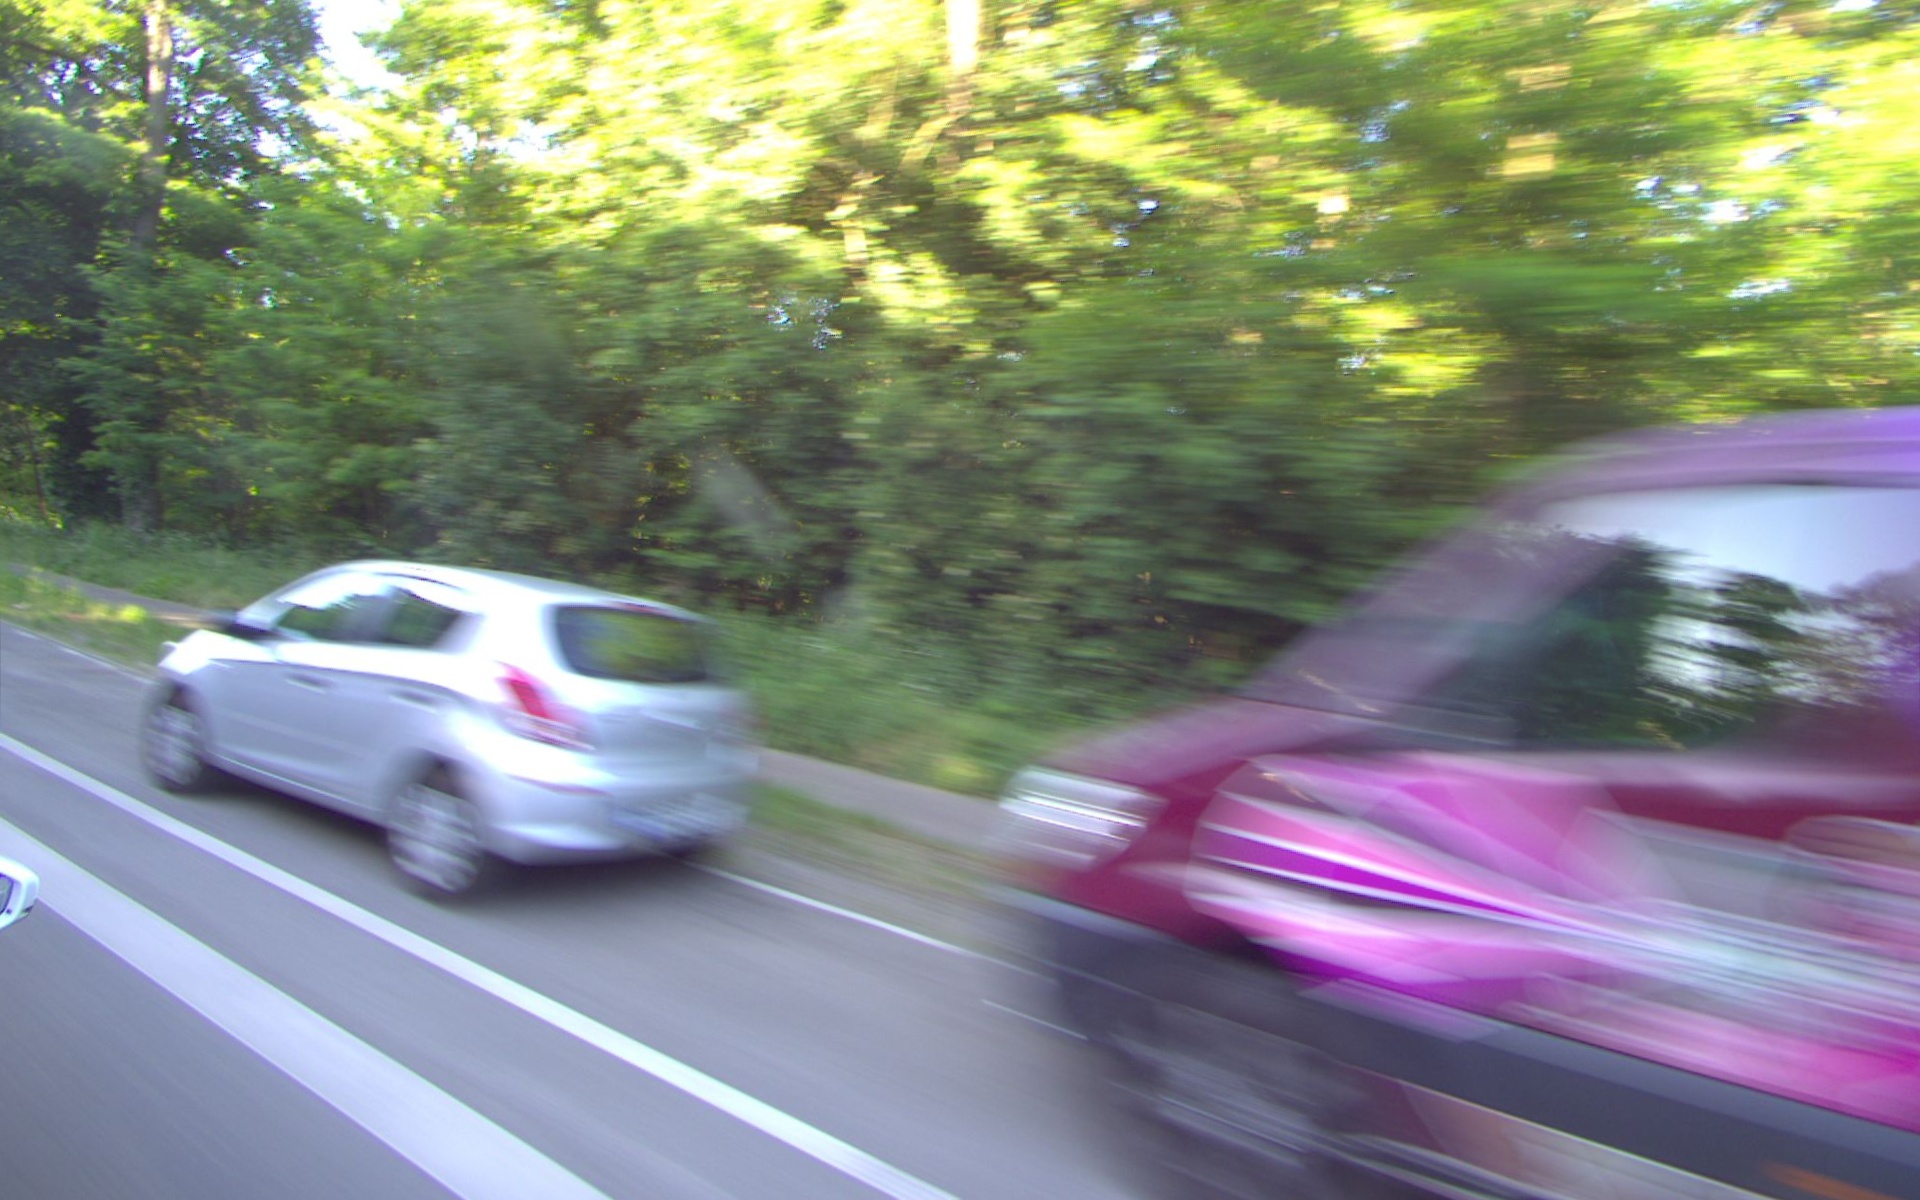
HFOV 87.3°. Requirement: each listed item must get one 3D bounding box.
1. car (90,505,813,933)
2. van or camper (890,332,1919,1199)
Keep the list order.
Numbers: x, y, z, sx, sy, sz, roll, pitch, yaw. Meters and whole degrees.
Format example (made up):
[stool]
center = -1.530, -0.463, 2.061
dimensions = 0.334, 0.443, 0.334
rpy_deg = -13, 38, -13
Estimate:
[car]
center = -3.041, 0.483, 5.871
dimensions = 3.932, 1.533, 1.751
rpy_deg = 7, -2, 30
[van or camper]
center = 2.949, 0.776, 2.512
dimensions = 5.939, 2.341, 2.037
rpy_deg = 7, 1, 31
